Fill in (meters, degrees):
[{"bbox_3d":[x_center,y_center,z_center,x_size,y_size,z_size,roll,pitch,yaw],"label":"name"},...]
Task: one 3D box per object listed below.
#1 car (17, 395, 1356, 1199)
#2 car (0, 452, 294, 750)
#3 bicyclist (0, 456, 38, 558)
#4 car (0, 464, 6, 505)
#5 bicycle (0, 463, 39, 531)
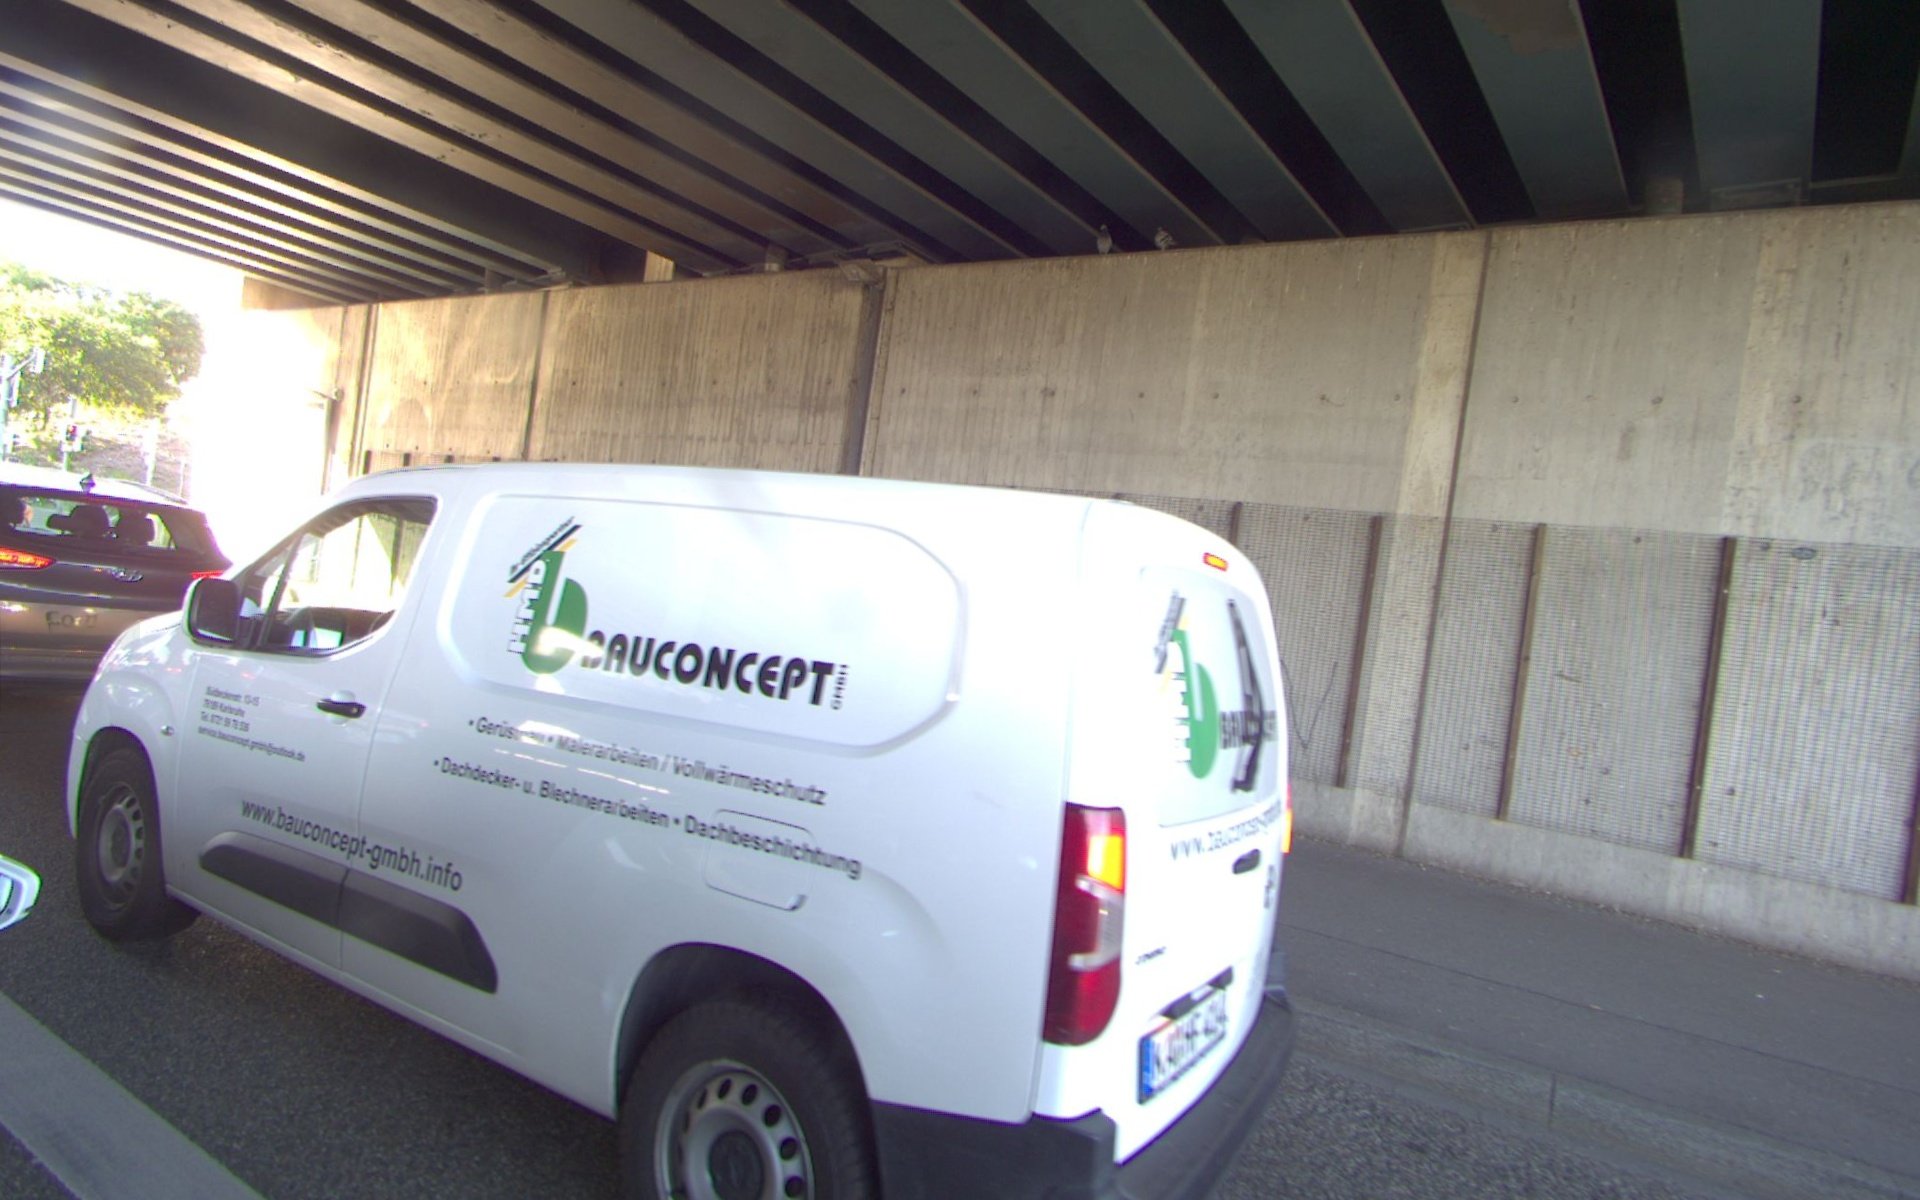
[{"bbox_3d":[-1.129,0.499,3.458,4.227,1.855,1.817,8,-1,30],"label":"car"},{"bbox_3d":[-6.826,-0.143,7.156,3.923,1.675,1.782,7,-2,30],"label":"car"},{"bbox_3d":[-16.230,-1.590,17.058,0.635,1.647,0.676,6,-1,42],"label":"bicyclist"},{"bbox_3d":[-34.216,-4.073,32.595,1.968,1.625,4.354,7,-3,34],"label":"car"},{"bbox_3d":[-16.220,-1.758,17.063,1.508,1.036,0.676,6,-2,43],"label":"bicycle"}]
